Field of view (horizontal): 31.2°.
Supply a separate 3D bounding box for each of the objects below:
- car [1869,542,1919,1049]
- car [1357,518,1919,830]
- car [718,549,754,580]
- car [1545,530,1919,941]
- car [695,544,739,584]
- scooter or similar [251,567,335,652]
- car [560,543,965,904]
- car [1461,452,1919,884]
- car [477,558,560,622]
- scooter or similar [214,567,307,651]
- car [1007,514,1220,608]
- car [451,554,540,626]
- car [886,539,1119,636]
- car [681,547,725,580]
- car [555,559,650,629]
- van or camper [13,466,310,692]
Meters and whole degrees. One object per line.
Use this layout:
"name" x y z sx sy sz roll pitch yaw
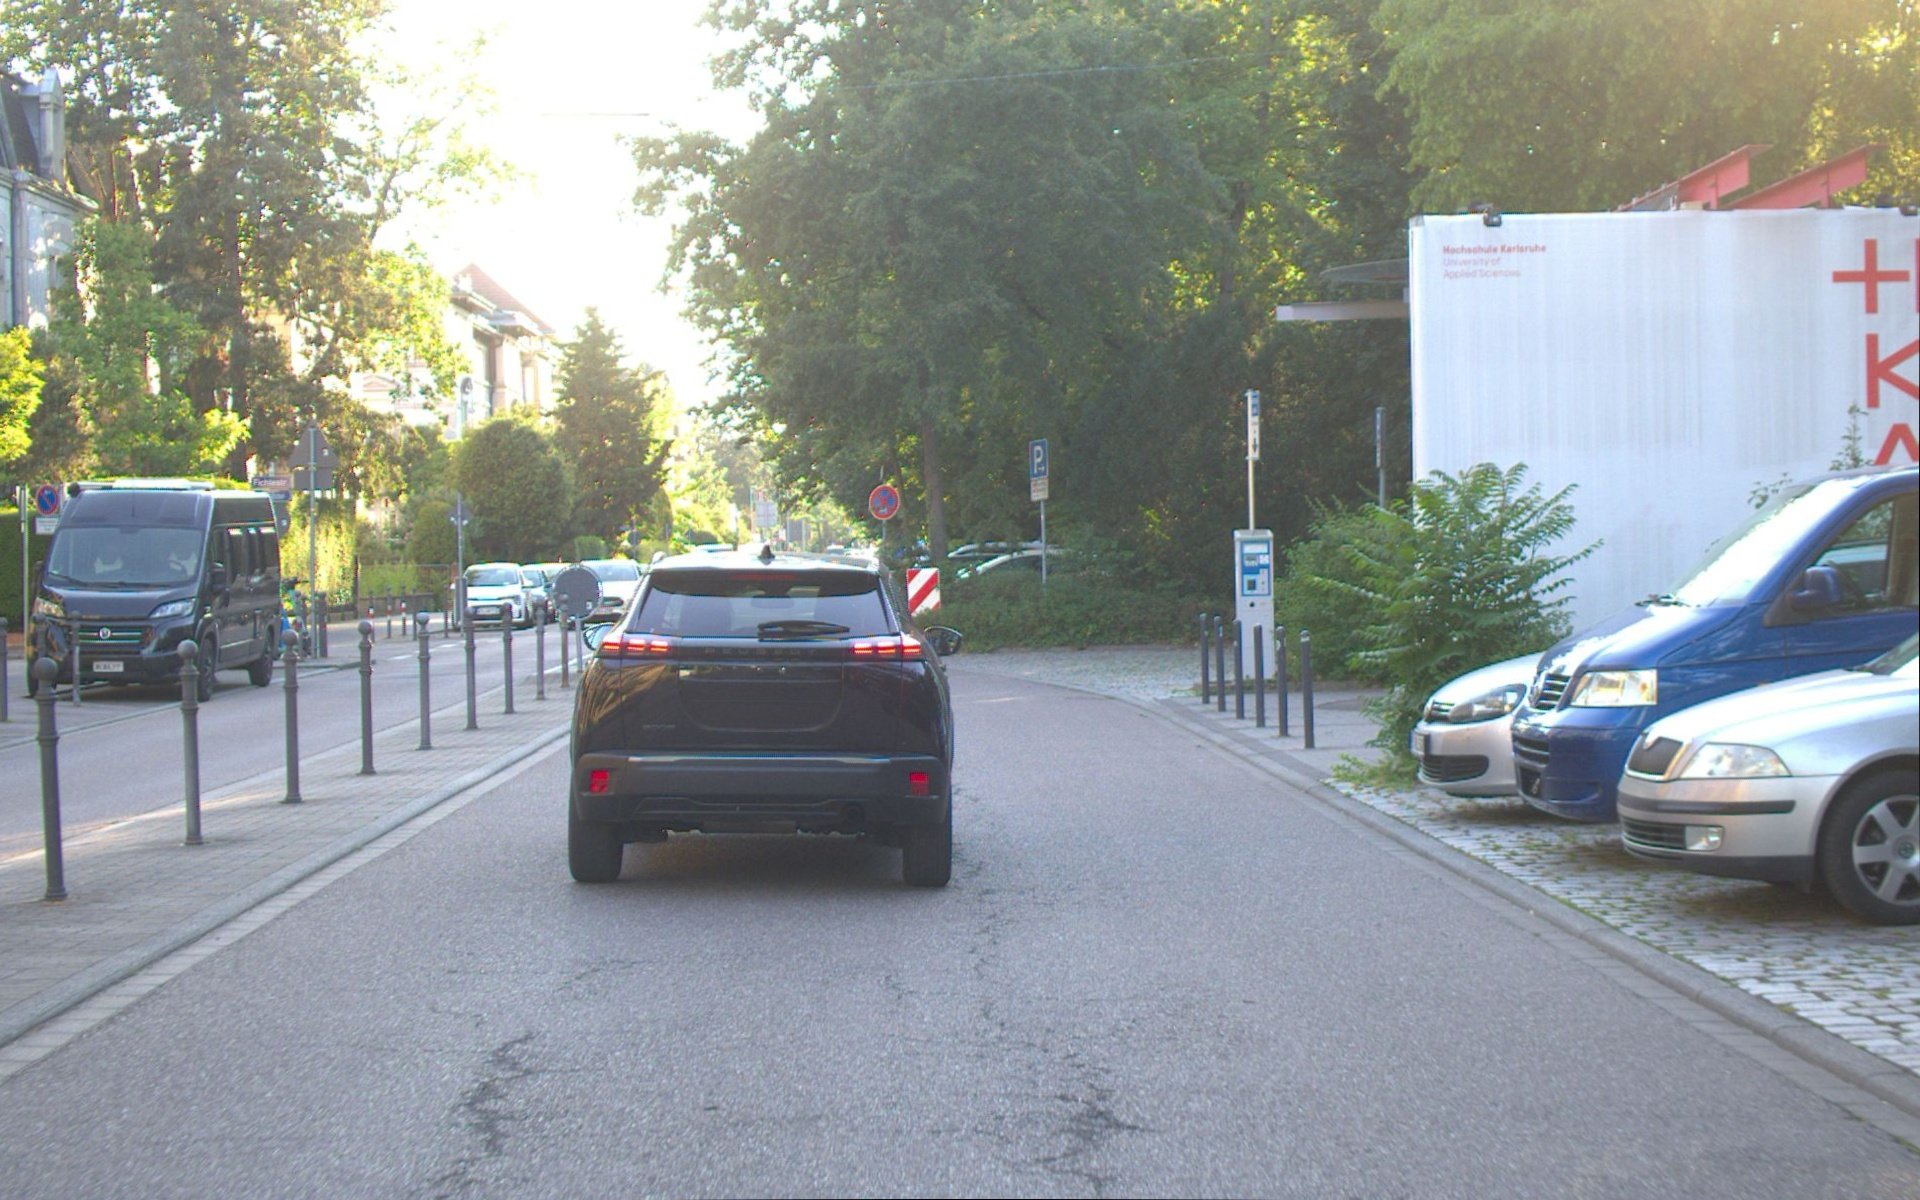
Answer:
"car" 5.072 0.495 9.804 4.362 1.532 1.921 -3 1 -2
"car" 4.913 0.342 19.801 4.926 1.548 1.916 -3 1 -2
"car" -13.277 -2.134 204.009 1.993 1.809 4.000 -1 1 -2
"car" 5.161 0.433 14.601 4.926 1.548 1.916 -3 1 -2
"car" -12.461 -1.852 176.365 1.993 2.007 4.000 0 1 0
"scooter or similar" -10.182 0.134 52.507 0.431 1.270 1.341 0 1 34
"car" -0.911 0.509 17.142 1.771 1.563 4.109 0 1 -1
"car" 5.094 0.221 16.917 4.852 1.909 1.916 -3 1 -2
"car" -10.685 -0.262 83.389 1.613 1.480 3.742 -1 1 -2
"scooter or similar" -10.752 0.136 52.866 1.340 1.270 0.432 -1 0 -36
"car" 3.223 -0.828 73.036 4.306 1.798 2.036 -2 1 -2
"car" -10.475 -0.248 77.726 1.613 1.510 3.712 -3 1 -3
"car" 0.715 -0.231 60.241 3.987 1.549 1.726 -1 2 -1
"car" -12.372 -1.767 165.590 1.899 1.568 4.000 -1 1 -2
"car" -7.854 -0.160 75.816 1.741 1.453 4.624 -1 1 -2
"van or camper" -9.735 -0.273 42.561 2.229 2.536 7.080 1 1 -2
